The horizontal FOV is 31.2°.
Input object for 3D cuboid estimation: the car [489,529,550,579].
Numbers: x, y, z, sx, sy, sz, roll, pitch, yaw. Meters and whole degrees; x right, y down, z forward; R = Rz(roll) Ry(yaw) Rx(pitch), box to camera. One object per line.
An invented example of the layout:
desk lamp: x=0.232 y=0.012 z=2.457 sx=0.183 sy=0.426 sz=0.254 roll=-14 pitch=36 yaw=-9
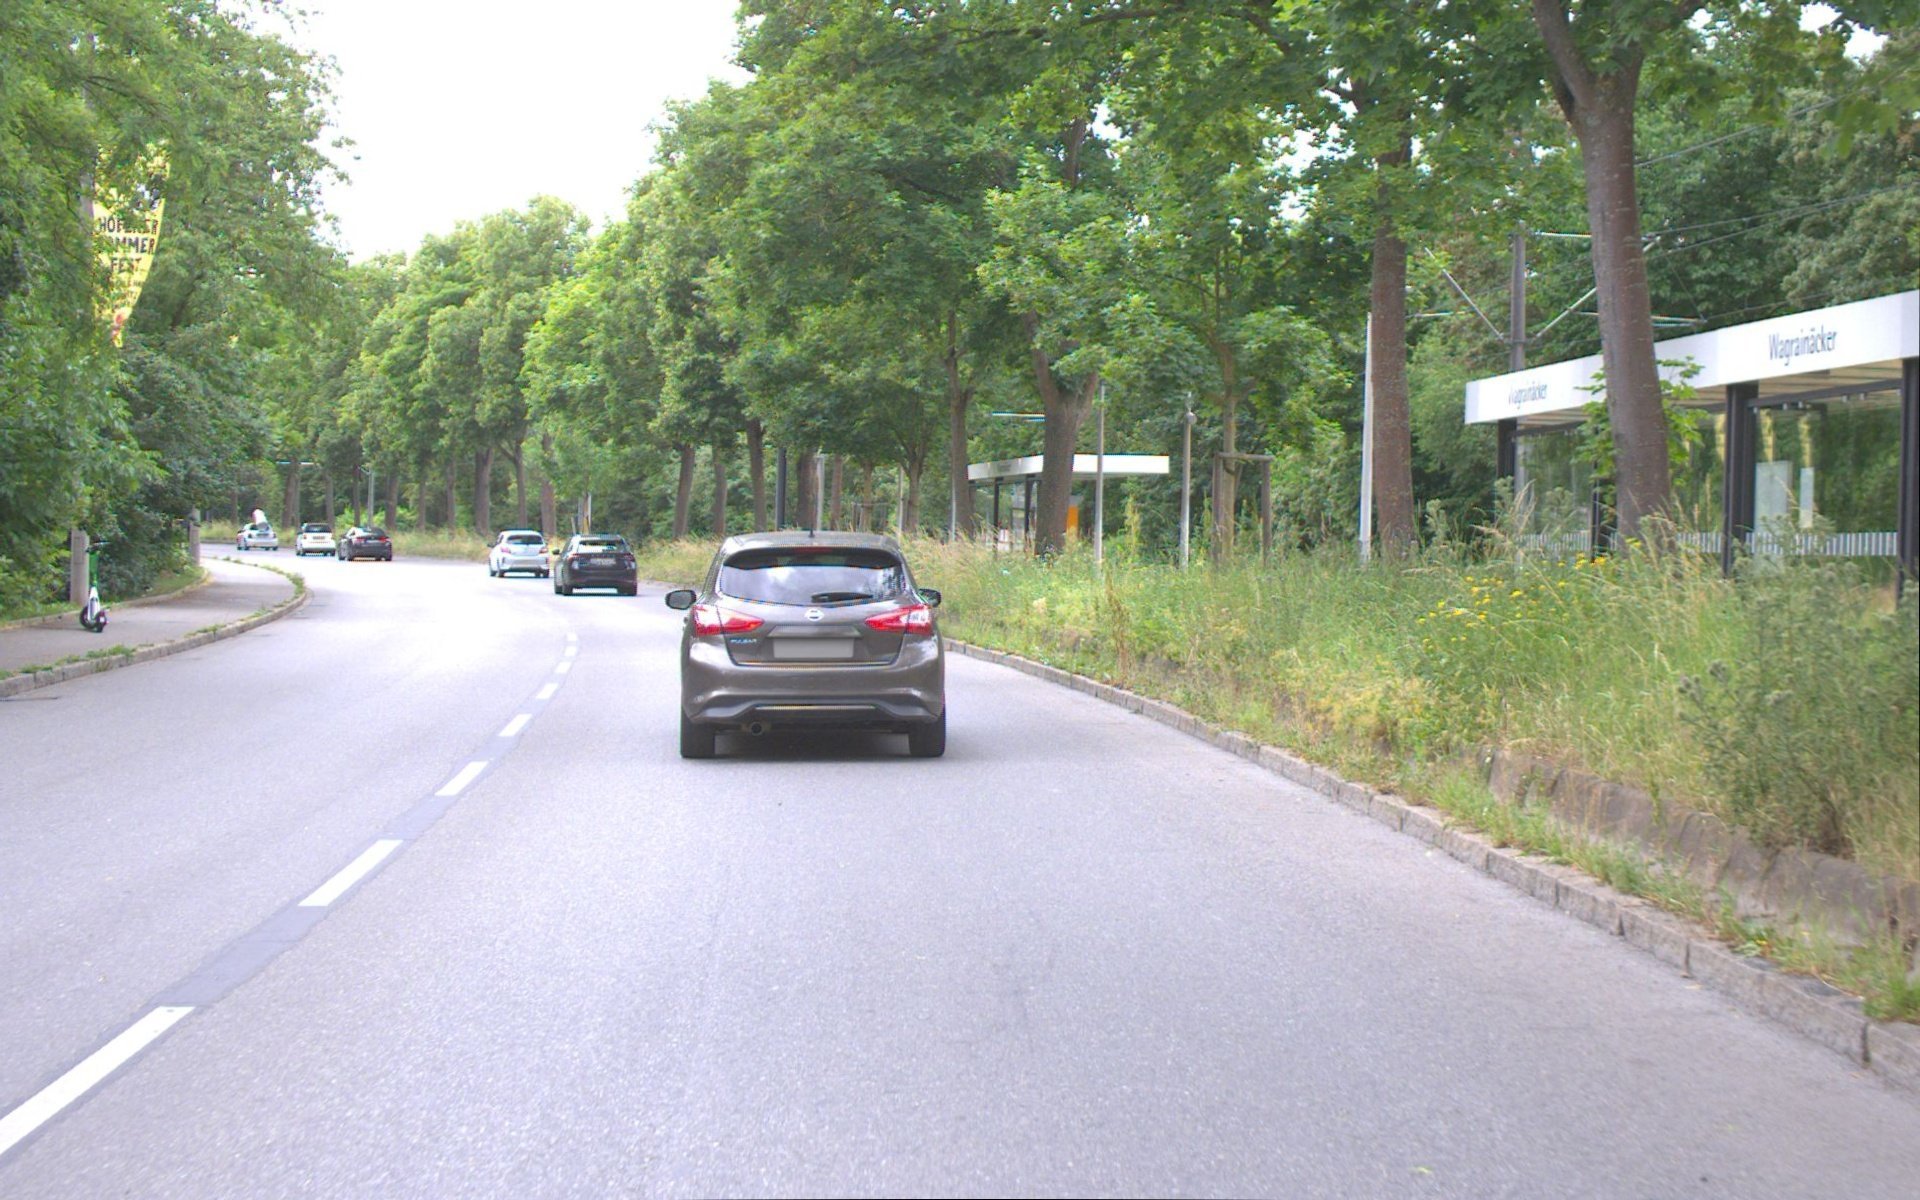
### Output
car: x=-14.058 y=-1.488 z=109.916 sx=1.775 sy=1.467 sz=4.001 roll=3 pitch=1 yaw=-6

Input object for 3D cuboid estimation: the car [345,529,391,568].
car: x=-25.261 y=-2.194 z=146.636 sx=1.775 sy=1.467 sz=4.001 roll=5 pitch=1 yaw=-10

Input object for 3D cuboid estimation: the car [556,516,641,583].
car: x=-8.733 y=-1.231 z=82.802 sx=1.775 sy=1.467 sz=4.001 roll=3 pitch=1 yaw=-9

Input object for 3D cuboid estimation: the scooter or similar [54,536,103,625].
scooter or similar: x=-12.006 y=-0.273 z=46.815 sx=0.364 sy=1.180 sz=1.298 roll=2 pitch=1 yaw=-26

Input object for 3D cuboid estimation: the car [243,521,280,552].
car: x=-37.018 y=-3.362 z=182.255 sx=1.775 sy=1.467 sz=4.001 roll=3 pitch=1 yaw=-10

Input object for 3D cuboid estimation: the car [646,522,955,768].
car: x=-1.200 y=0.248 z=24.015 sx=1.815 sy=1.503 sz=4.001 roll=0 pitch=2 yaw=-7

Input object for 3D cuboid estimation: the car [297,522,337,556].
car: x=-30.323 y=-2.886 z=162.178 sx=1.775 sy=1.467 sz=4.001 roll=2 pitch=2 yaw=-10
